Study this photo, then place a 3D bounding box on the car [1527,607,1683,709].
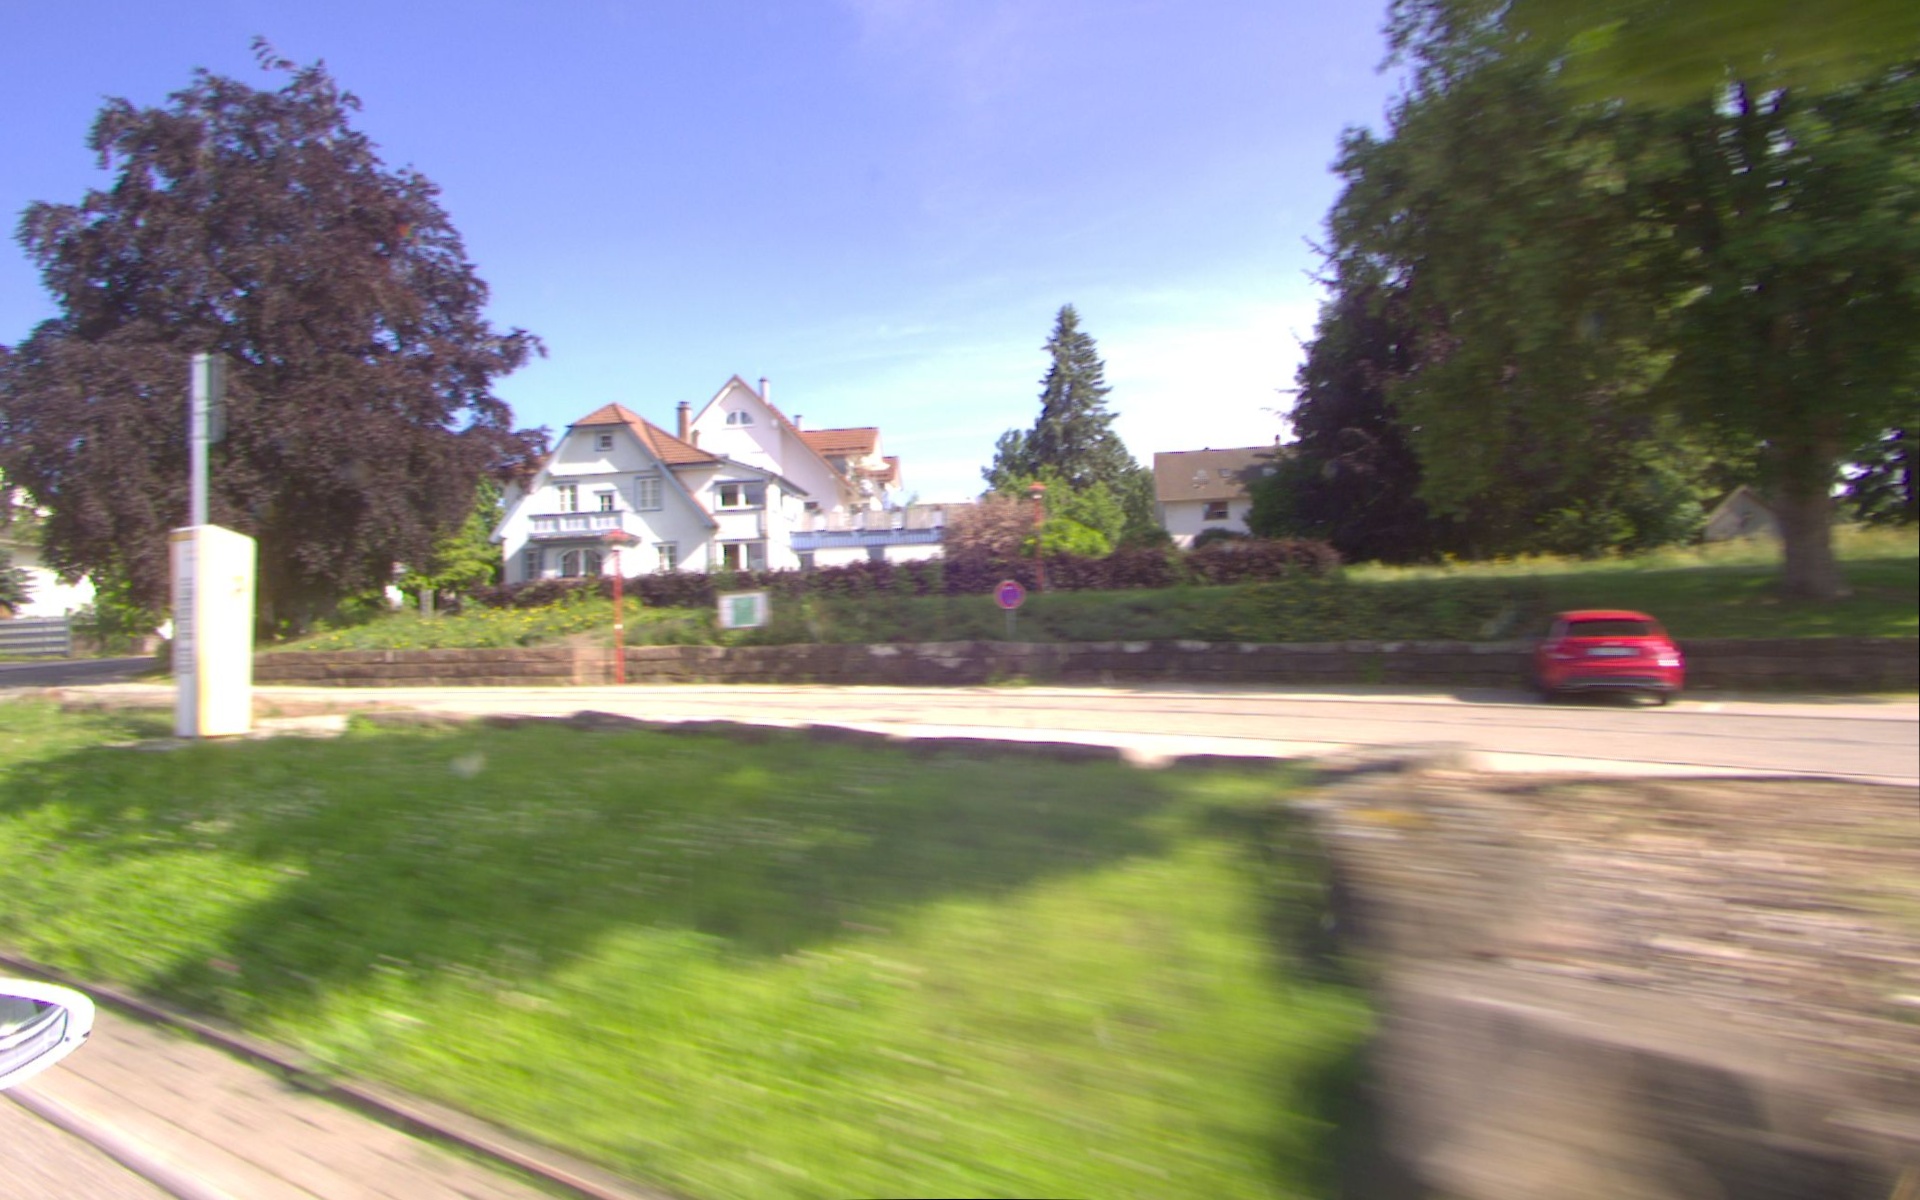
[{"bbox_3d":[10.445,0.866,16.488,1.675,1.447,4.251,-2,-1,27],"label":"car"}]
